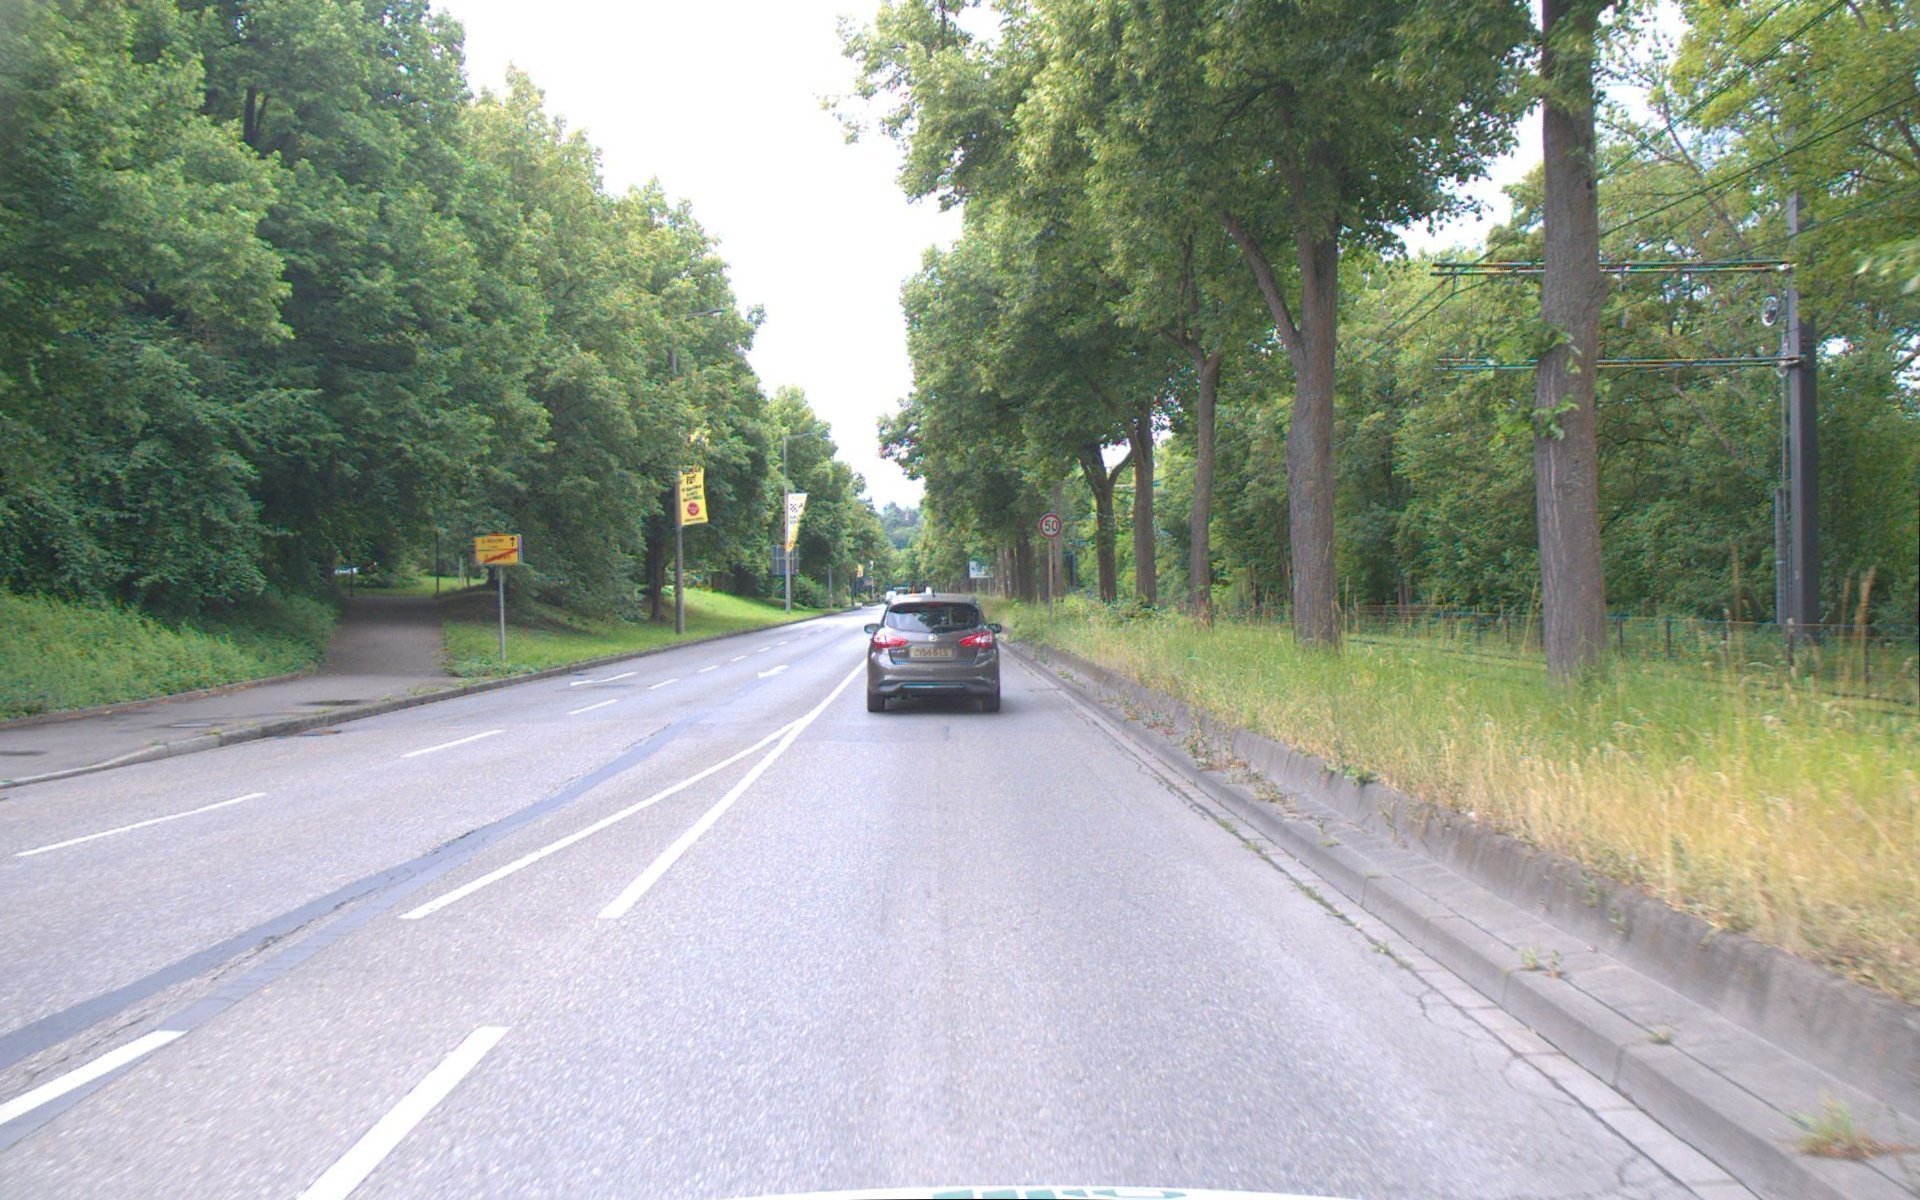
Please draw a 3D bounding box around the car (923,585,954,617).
[{"bbox_3d":[-1.093,0.059,84.603,1.472,1.555,3.671,0,0,1],"label":"car"}]

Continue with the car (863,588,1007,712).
[{"bbox_3d":[-0.294,0.631,22.752,1.799,1.555,3.929,0,0,1],"label":"car"}]
